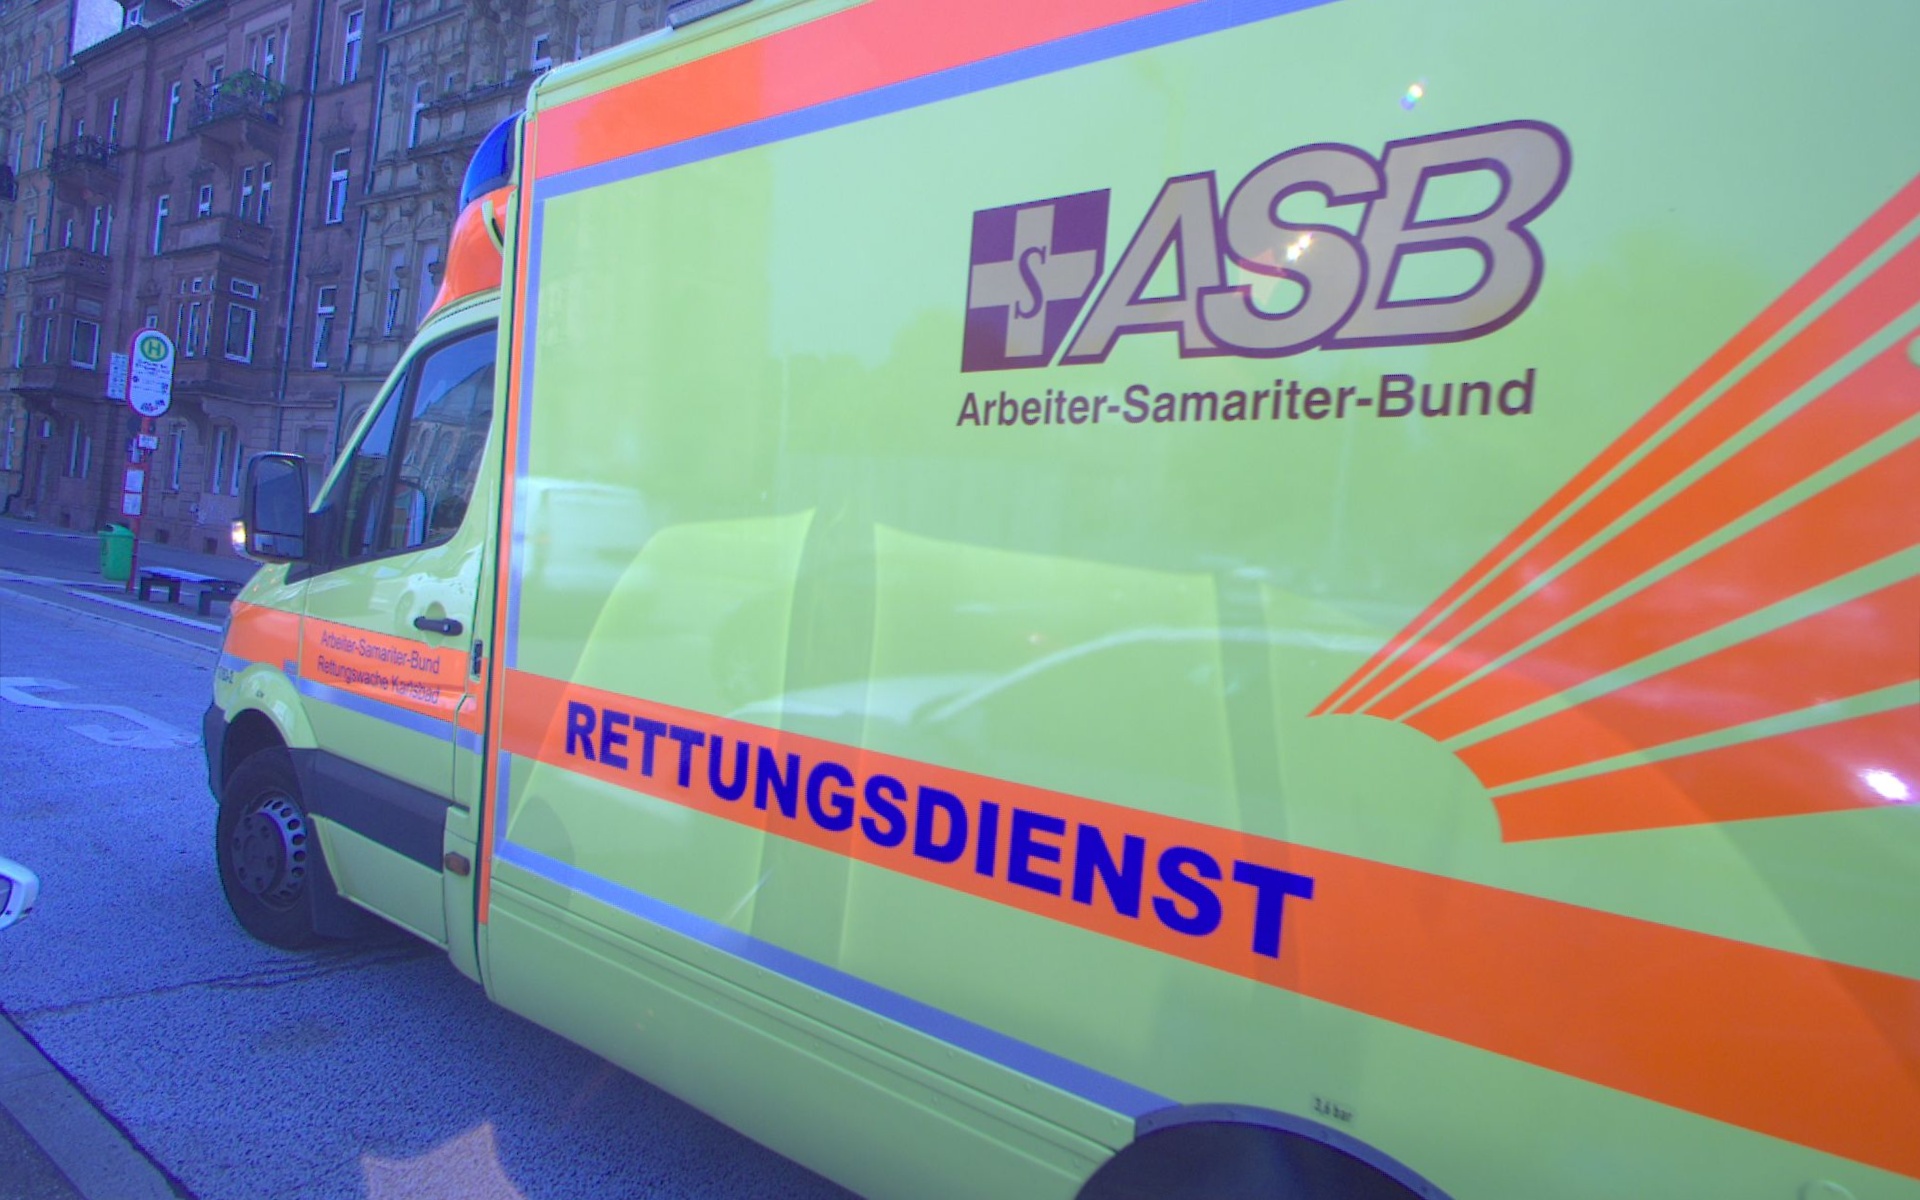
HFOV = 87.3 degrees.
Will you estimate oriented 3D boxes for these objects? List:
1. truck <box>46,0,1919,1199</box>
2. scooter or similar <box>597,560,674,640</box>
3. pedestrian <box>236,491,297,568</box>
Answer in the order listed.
[{"bbox_3d":[-0.220,-0.006,2.987,6.238,2.807,2.326,7,3,35],"label":"truck"},{"bbox_3d":[-5.552,-0.003,17.189,1.122,1.228,0.476,7,1,27],"label":"scooter or similar"},{"bbox_3d":[-17.449,-1.764,25.331,0.729,1.800,0.870,7,1,4],"label":"pedestrian"}]
